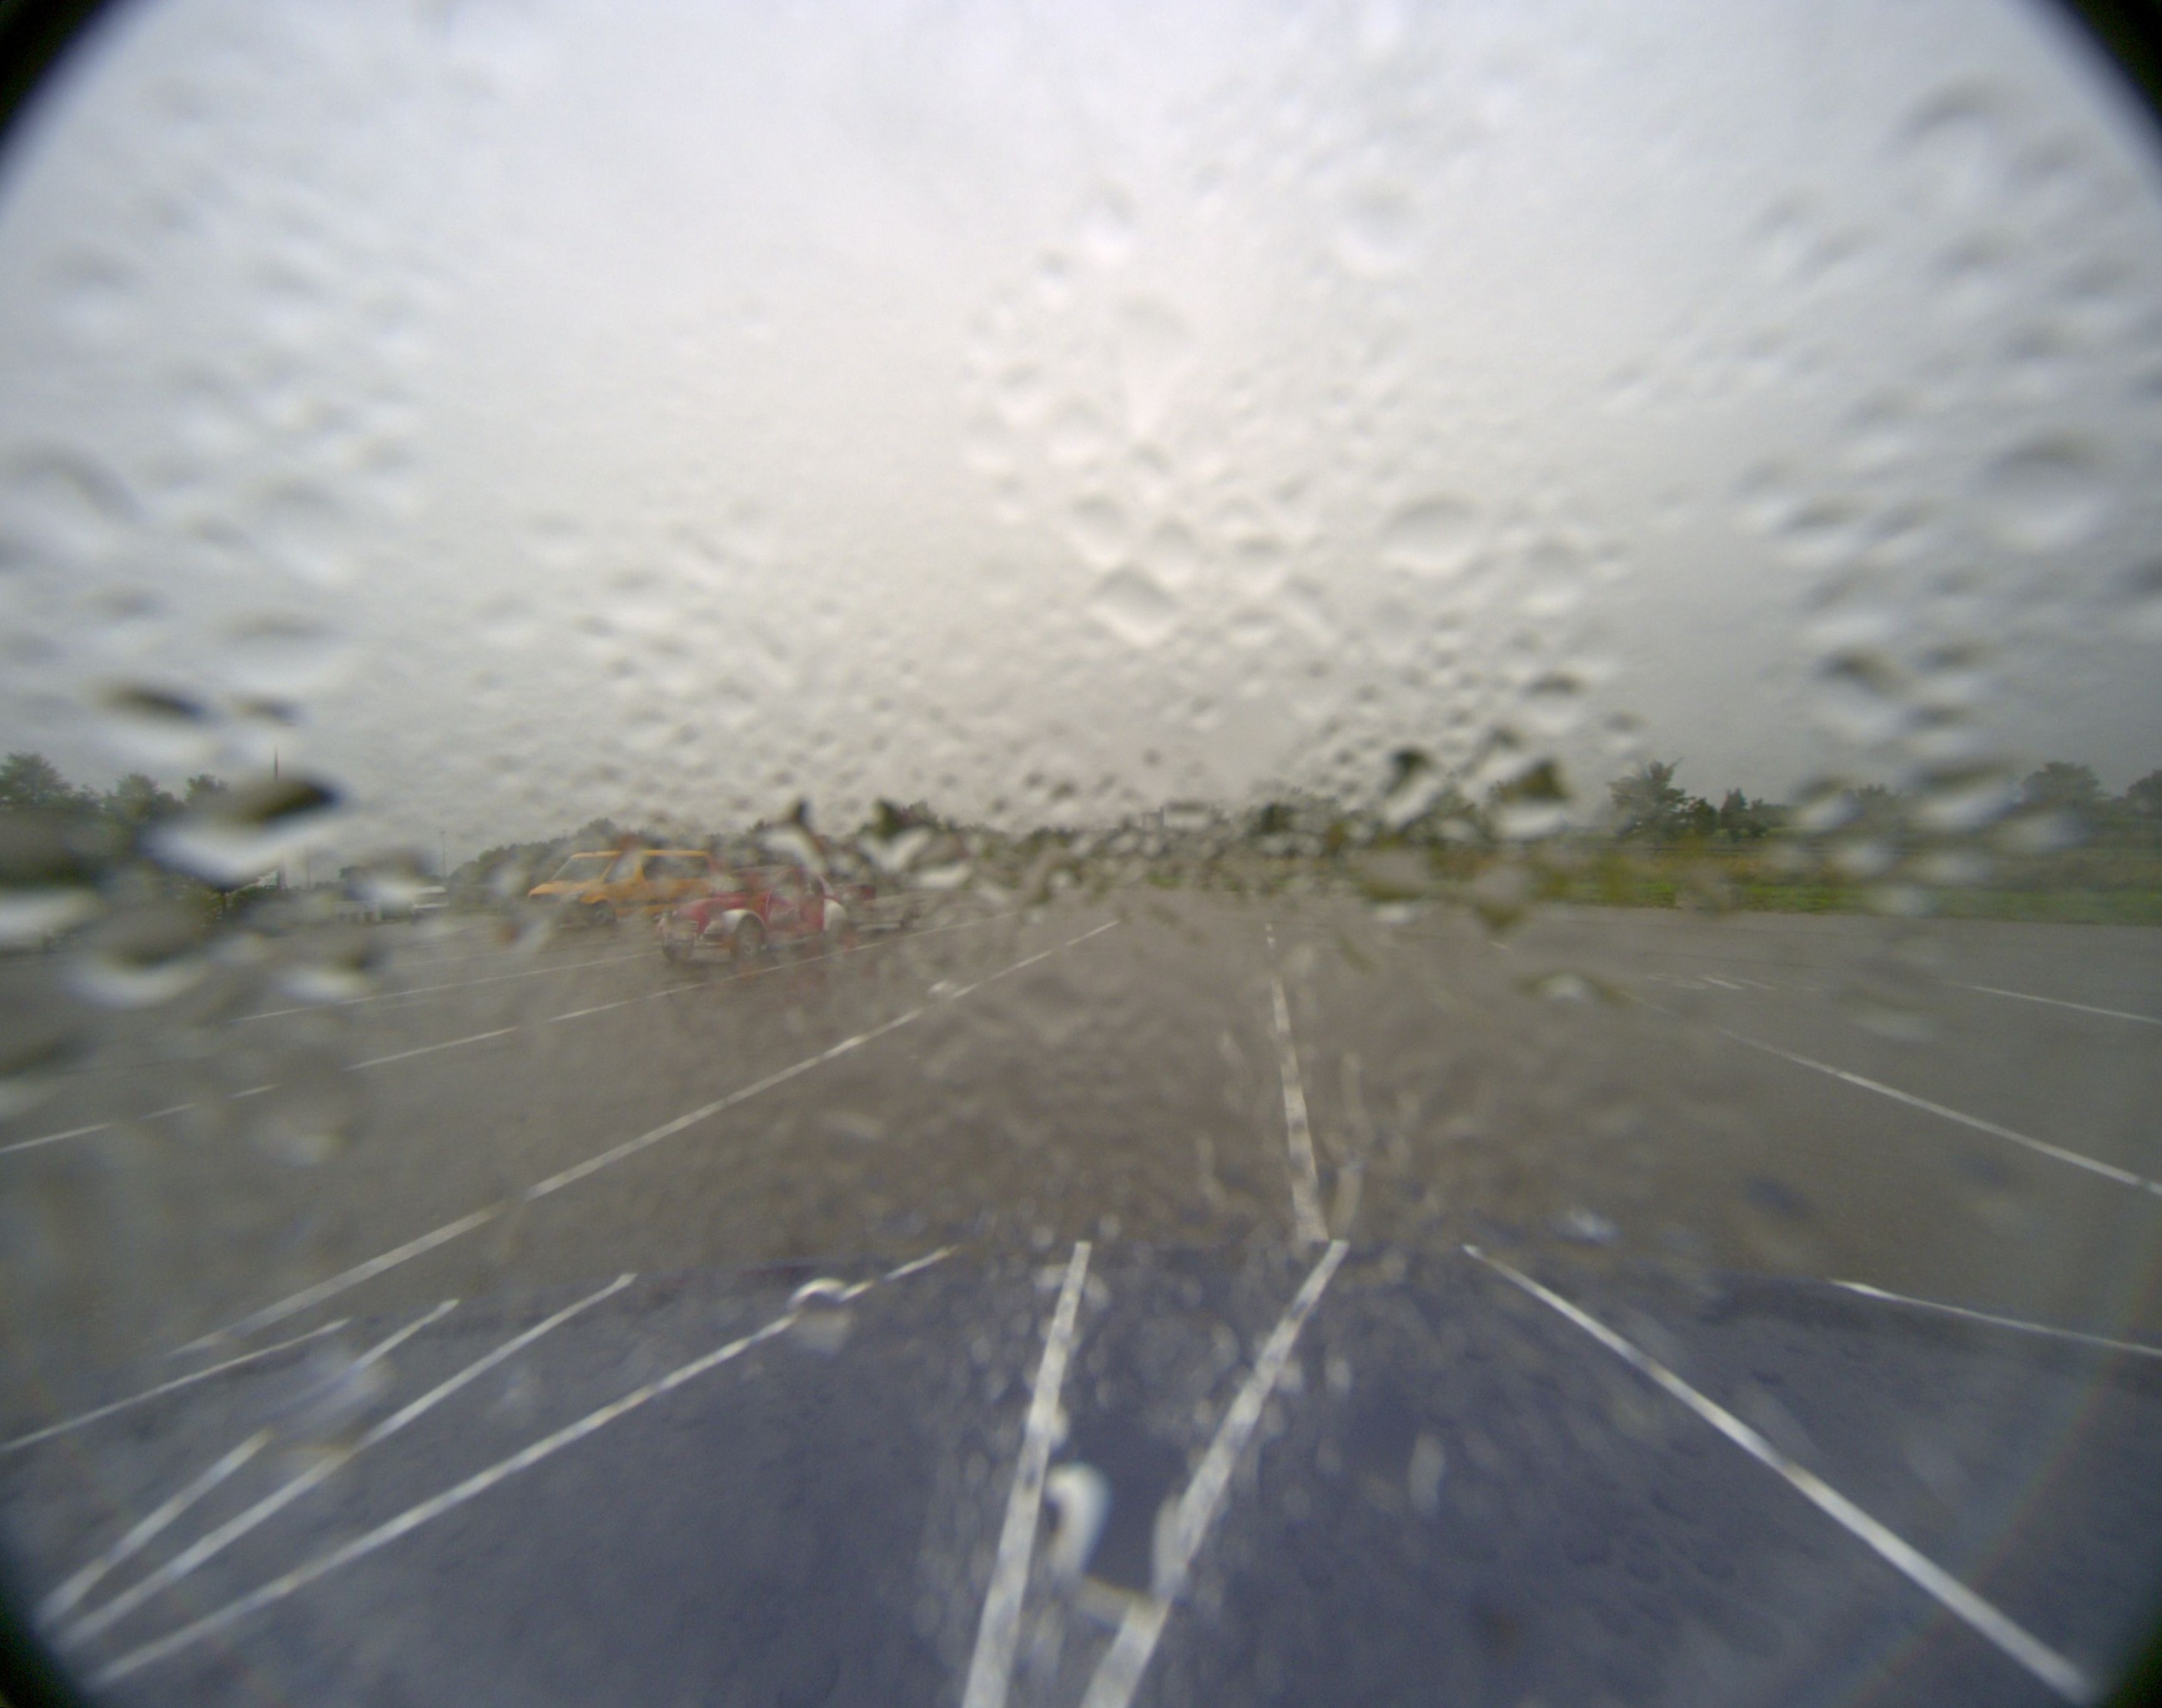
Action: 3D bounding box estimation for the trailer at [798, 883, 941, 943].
[{"bbox_3d":[-4.501,1.238,16.587,1.586,1.061,3.034,-2,-1,17],"label":"trailer"}]

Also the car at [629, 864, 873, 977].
[{"bbox_3d":[-5.427,1.004,13.129,1.546,1.546,4.061,-1,0,17],"label":"car"}]

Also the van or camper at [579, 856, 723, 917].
[{"bbox_3d":[-21.474,1.506,38.476,1.996,2.700,7.075,0,1,14],"label":"van or camper"}]

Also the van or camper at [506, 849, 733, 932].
[{"bbox_3d":[-14.122,1.002,23.959,2.131,2.233,6.424,-1,0,14],"label":"van or camper"}]
